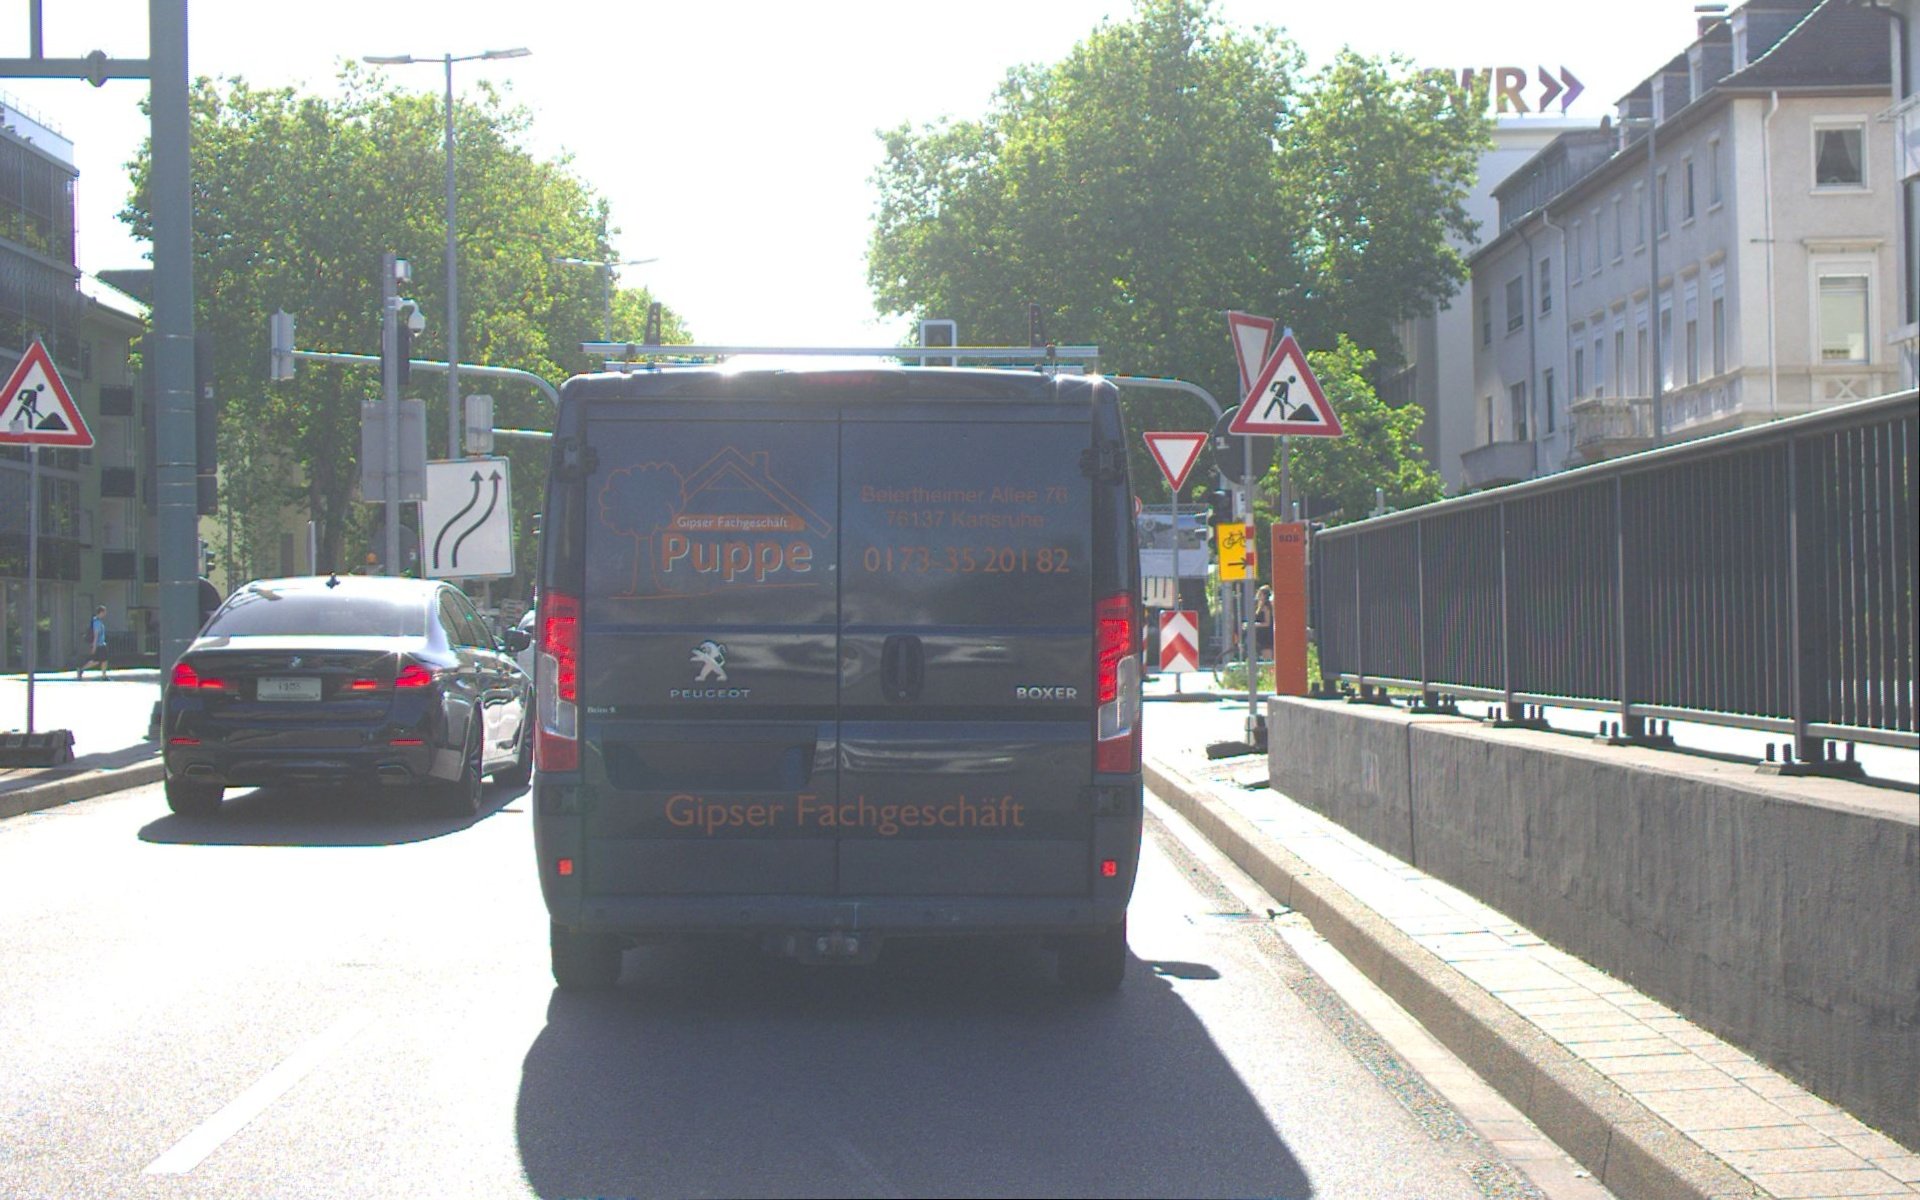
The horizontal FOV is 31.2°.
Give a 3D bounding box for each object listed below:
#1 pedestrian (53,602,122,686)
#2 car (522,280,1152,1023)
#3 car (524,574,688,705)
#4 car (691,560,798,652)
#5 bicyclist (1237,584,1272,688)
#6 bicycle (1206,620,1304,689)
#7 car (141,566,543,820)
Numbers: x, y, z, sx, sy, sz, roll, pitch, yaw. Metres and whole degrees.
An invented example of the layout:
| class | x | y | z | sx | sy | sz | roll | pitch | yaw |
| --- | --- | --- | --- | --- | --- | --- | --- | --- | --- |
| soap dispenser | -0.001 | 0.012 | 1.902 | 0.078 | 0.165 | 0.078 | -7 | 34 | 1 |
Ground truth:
| class | x | y | z | sx | sy | sz | roll | pitch | yaw |
| --- | --- | --- | --- | --- | --- | --- | --- | --- | --- |
| pedestrian | -20.354 | 1.020 | 80.256 | 1.332 | 1.925 | 1.026 | 1 | 0 | -1 |
| car | -0.426 | 0.154 | 13.078 | 2.030 | 2.394 | 3.973 | 0 | 0 | -1 |
| car | -4.172 | 0.438 | 41.010 | 1.619 | 1.398 | 3.852 | 1 | 1 | -1 |
| car | -3.701 | 0.085 | 59.463 | 1.689 | 1.478 | 3.319 | 1 | 1 | -1 |
| bicyclist | 4.956 | 0.601 | 57.896 | 0.509 | 1.729 | 0.597 | 1 | 0 | -1 |
| bicycle | 4.963 | 0.914 | 57.897 | 1.566 | 1.114 | 0.570 | 1 | 0 | -1 |
| car | -3.844 | 0.509 | 22.216 | 1.808 | 1.434 | 5.003 | 1 | 1 | -2 |
